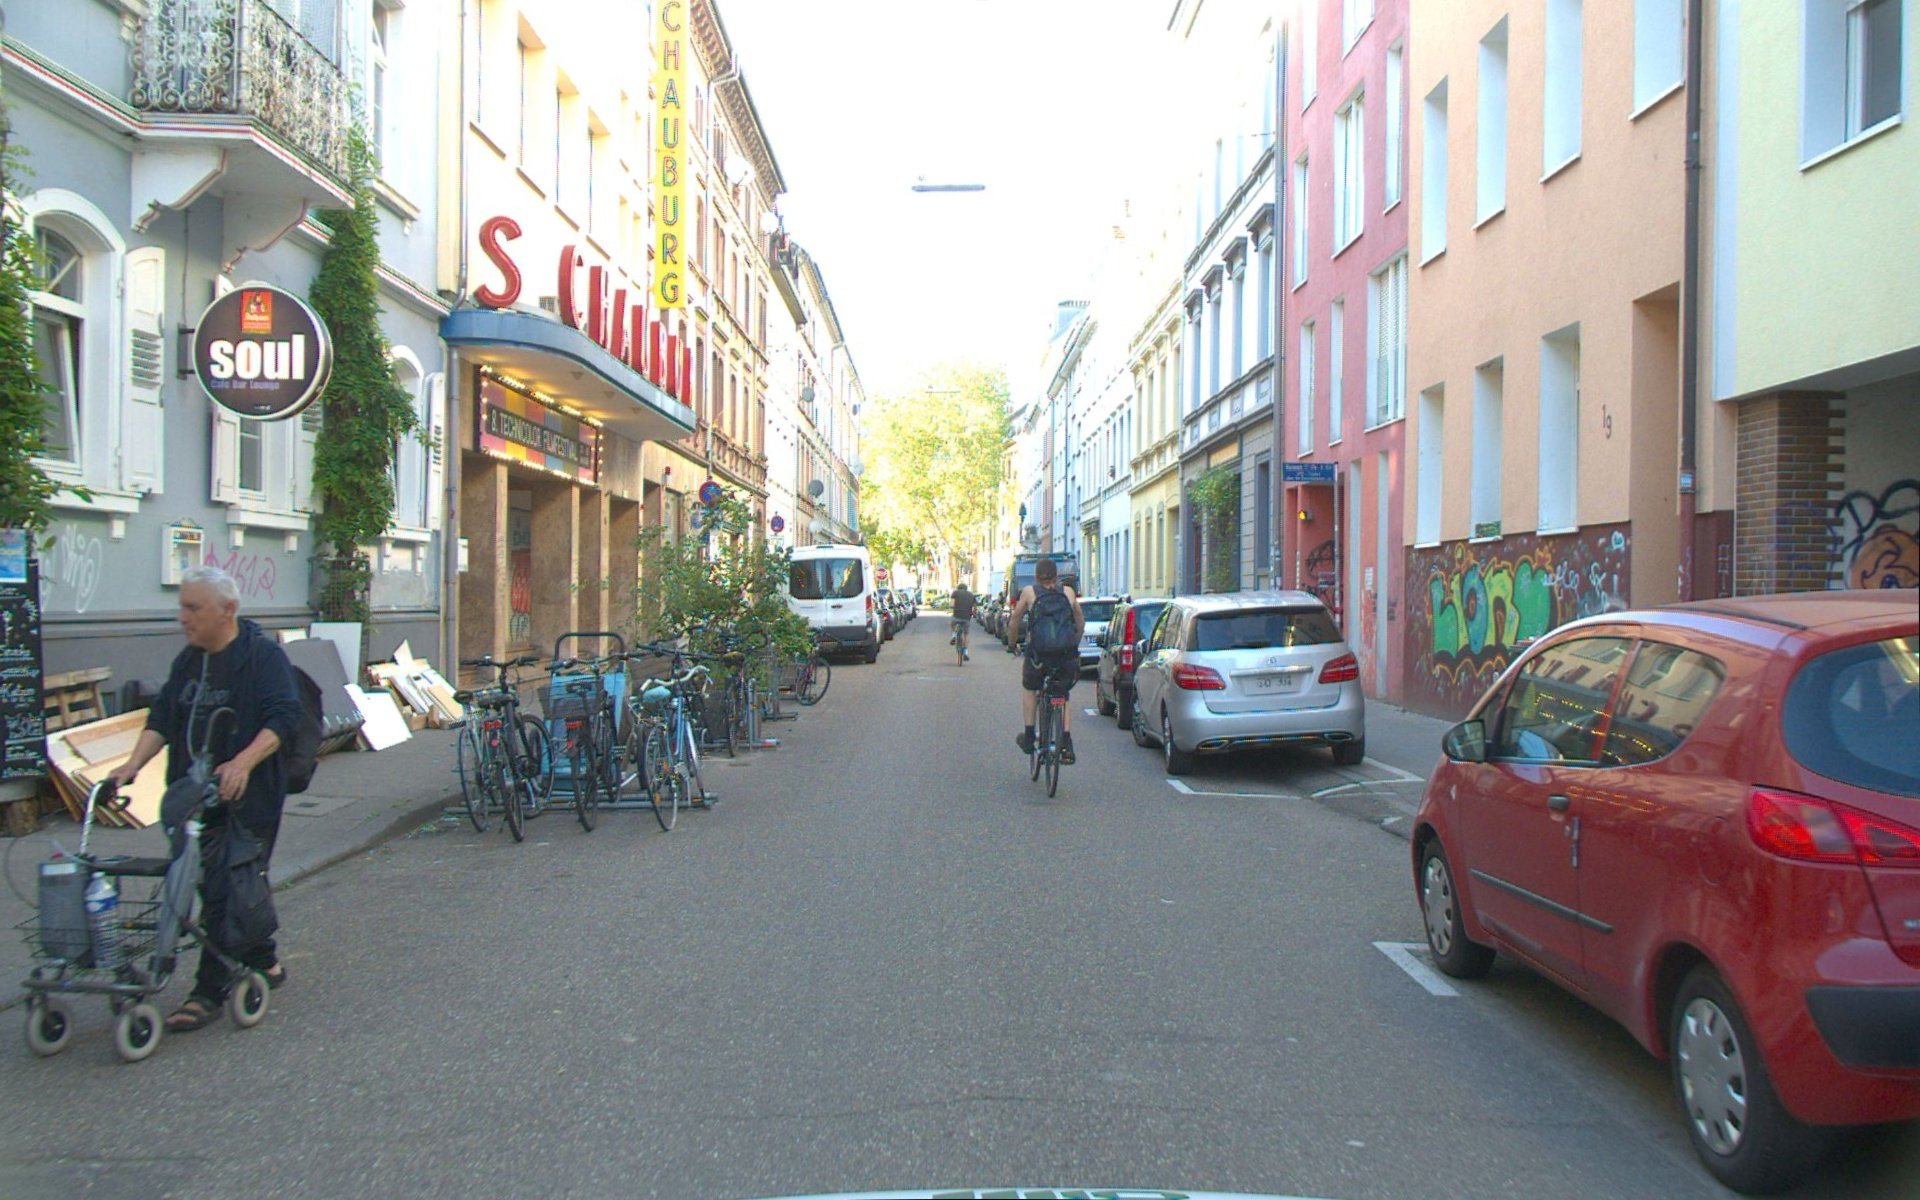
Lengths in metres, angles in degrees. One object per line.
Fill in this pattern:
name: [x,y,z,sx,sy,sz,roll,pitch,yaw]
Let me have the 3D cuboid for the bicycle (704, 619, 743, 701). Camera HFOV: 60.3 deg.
bicycle: [-3.231,0.805,22.652,0.409,1.066,1.317,2,0,-4]

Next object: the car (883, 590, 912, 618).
car: [-3.547,0.218,93.492,1.514,1.578,3.462,0,0,-4]

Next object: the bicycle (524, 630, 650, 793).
bicycle: [-2.894,0.849,12.917,0.796,1.195,0.920,1,0,-3]

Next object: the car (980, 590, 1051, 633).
car: [2.111,0.412,64.135,1.778,1.503,4.597,-3,1,-10]

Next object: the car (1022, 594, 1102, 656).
car: [2.536,0.593,41.805,1.712,1.469,4.171,1,0,-1]

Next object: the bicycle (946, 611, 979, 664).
bicycle: [0.041,0.767,34.545,0.650,1.055,1.958,0,0,-1]

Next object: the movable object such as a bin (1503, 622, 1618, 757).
movable object such as a bin: [5.120,0.751,14.138,0.678,1.076,0.736,-2,0,0]

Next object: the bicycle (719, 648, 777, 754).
bicycle: [-2.053,0.963,16.114,0.382,0.932,1.393,0,0,0]

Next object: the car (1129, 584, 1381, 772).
car: [2.702,0.641,16.033,1.710,1.583,4.171,0,0,0]

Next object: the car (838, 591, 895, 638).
car: [-3.091,0.445,55.129,1.825,1.465,4.643,0,1,-3]

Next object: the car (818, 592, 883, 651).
car: [-2.870,0.533,43.844,1.612,1.472,3.838,0,0,-2]

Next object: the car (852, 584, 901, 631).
car: [-3.312,0.279,66.146,1.764,1.728,3.999,-2,0,-1]

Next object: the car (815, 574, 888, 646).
car: [-3.130,0.261,48.434,1.790,1.925,4.613,-2,0,-1]

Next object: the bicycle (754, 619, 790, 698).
bicycle: [-2.759,0.839,24.327,0.433,1.066,1.863,2,0,-4]

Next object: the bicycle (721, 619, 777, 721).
bicycle: [-2.504,0.809,19.736,0.535,1.113,1.880,2,0,-4]

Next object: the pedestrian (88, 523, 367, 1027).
pedestrian: [-2.666,0.612,6.087,0.699,1.737,0.671,1,0,-3]

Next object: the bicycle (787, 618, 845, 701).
bicycle: [-2.042,0.820,23.276,0.453,1.066,1.742,2,0,-16]

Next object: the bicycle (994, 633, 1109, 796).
bicycle: [0.686,0.854,13.068,0.725,1.120,2.041,2,0,-1]

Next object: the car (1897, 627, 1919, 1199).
car: [2.737,0.788,1.165,1.654,1.478,4.192,-1,0,-2]

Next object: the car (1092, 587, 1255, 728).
car: [2.606,0.652,20.847,1.569,1.566,3.450,-2,0,0]

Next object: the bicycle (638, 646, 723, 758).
bicycle: [-2.644,0.940,15.753,0.542,0.960,1.571,0,0,0]

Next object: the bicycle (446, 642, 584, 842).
bicycle: [-2.864,0.869,10.782,0.434,1.125,1.873,1,0,-2]

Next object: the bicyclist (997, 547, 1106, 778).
bicyclist: [0.702,0.468,12.973,0.725,1.708,1.116,2,0,-1]

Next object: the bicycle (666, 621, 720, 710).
bicycle: [-3.387,0.818,21.065,0.562,1.063,1.408,1,0,-5]

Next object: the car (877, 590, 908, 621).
car: [-3.523,0.275,86.118,1.572,1.556,3.377,-1,0,-2]

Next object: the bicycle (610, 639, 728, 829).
bicycle: [-1.951,0.861,11.273,0.489,1.125,1.829,1,0,-1]

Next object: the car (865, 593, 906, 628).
car: [-3.189,0.420,71.127,1.559,1.465,3.653,0,0,0]

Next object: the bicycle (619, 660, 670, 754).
bicycle: [-3.101,1.038,16.298,0.251,0.832,1.299,1,0,0]

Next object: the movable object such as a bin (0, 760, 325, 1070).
movable object such as a bin: [-2.660,1.031,5.542,0.828,0.913,0.585,1,0,-4]

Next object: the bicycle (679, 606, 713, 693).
bicycle: [-3.801,0.700,23.860,0.332,1.194,1.489,2,0,-5]

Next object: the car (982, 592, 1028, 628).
car: [1.845,0.401,69.348,1.690,1.454,3.831,0,0,-2]

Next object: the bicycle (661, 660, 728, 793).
bicycle: [-2.049,0.957,12.869,0.315,0.932,1.290,0,0,0]

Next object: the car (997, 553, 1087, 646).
car: [2.293,-0.026,48.032,2.131,2.468,6.308,-1,0,-1]

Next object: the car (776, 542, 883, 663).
car: [-2.877,0.035,37.788,2.124,2.495,5.919,-1,0,-2]

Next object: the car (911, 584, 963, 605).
car: [-2.035,-0.478,145.125,4.382,1.790,1.864,0,0,-5]

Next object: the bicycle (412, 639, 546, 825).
bicycle: [-3.260,0.858,11.331,0.434,1.125,1.697,1,0,-1]

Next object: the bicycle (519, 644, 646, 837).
bicycle: [-2.526,0.896,11.228,0.434,1.125,1.931,1,0,-1]

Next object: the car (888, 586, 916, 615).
car: [-3.697,0.015,105.692,1.751,1.767,3.875,0,0,-1]

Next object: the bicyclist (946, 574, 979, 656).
bicyclist: [0.047,0.312,34.452,0.656,1.687,0.877,0,0,-1]

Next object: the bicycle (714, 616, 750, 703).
bicycle: [-3.334,0.858,24.288,0.391,1.194,1.668,2,0,-5]

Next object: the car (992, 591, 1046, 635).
car: [2.090,0.453,59.351,1.711,1.511,4.242,0,0,-1]

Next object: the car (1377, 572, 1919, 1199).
car: [2.804,0.688,5.825,1.662,1.549,3.980,-1,0,0]

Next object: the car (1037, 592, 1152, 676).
car: [2.596,0.621,32.909,1.750,1.479,4.546,-3,0,-1]

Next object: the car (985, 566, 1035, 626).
car: [2.218,-0.176,74.631,2.159,2.595,6.037,0,0,1]
